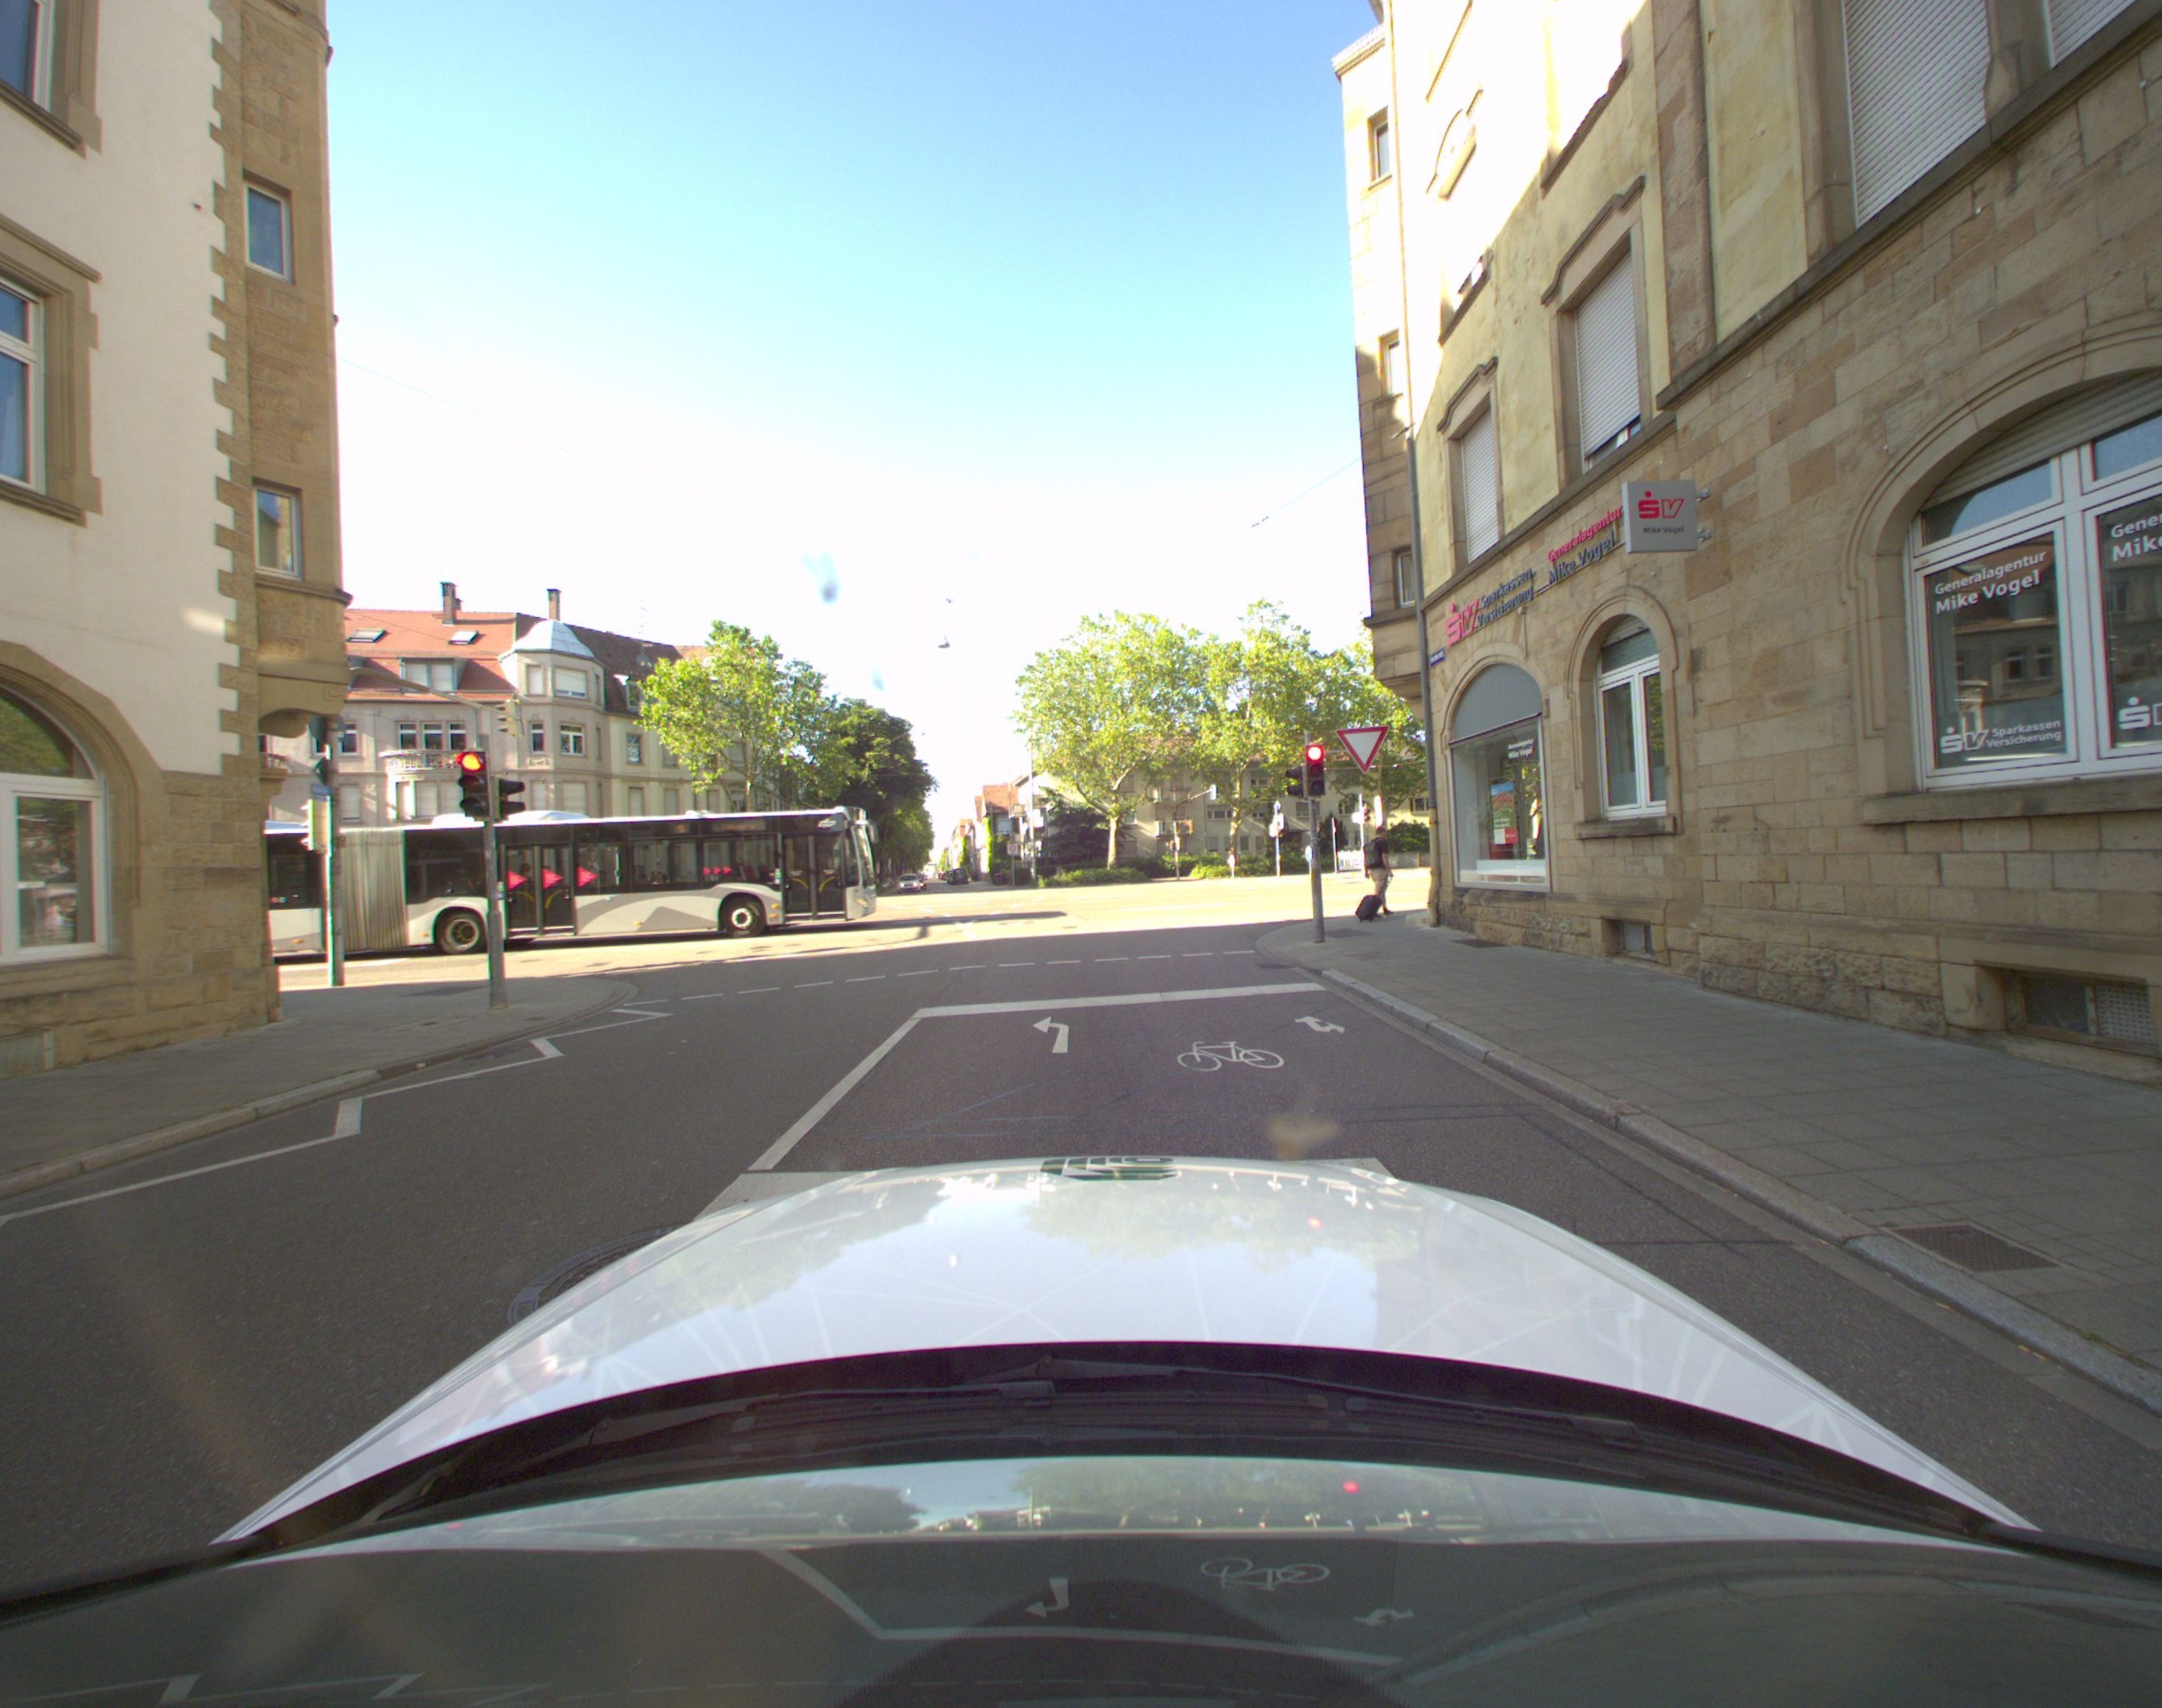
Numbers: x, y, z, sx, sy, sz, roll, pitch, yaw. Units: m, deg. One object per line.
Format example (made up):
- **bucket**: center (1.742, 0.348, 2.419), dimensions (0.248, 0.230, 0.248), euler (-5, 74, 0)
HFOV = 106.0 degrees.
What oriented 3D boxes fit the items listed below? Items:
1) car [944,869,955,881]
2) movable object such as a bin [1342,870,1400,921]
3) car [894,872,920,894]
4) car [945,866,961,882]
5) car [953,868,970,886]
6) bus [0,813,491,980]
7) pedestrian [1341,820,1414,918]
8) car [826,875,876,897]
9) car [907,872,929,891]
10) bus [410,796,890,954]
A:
- **car**: center (-23.748, 3.728, 147.188), dimensions (1.773, 1.918, 3.522), euler (-4, 0, -10)
- **movable object such as a bin**: center (5.481, 0.769, 15.402), dimensions (0.862, 0.892, 0.507), euler (-3, 0, -11)
- **car**: center (-13.594, 2.274, 63.820), dimensions (1.698, 1.483, 3.522), euler (-4, 0, -10)
- **car**: center (-16.563, 2.566, 105.206), dimensions (1.773, 1.918, 3.522), euler (-4, 0, -10)
- **car**: center (-13.952, 2.712, 95.017), dimensions (1.773, 1.918, 3.522), euler (-4, 0, -10)
- **bus**: center (-18.751, 0.865, 18.024), dimensions (8.818, 3.096, 2.738), euler (-2, 0, -8)
- **pedestrian**: center (5.783, 0.286, 15.914), dimensions (1.066, 1.848, 0.746), euler (-1, -1, -11)
- **car**: center (-17.952, 2.478, 63.717), dimensions (3.636, 1.457, 1.650), euler (-2, 0, -14)
- **car**: center (-13.964, 2.330, 69.834), dimensions (1.698, 1.483, 3.522), euler (-4, 0, -10)
- **bus**: center (-9.656, 0.415, 19.407), dimensions (9.615, 3.096, 2.738), euler (-2, 0, -8)
